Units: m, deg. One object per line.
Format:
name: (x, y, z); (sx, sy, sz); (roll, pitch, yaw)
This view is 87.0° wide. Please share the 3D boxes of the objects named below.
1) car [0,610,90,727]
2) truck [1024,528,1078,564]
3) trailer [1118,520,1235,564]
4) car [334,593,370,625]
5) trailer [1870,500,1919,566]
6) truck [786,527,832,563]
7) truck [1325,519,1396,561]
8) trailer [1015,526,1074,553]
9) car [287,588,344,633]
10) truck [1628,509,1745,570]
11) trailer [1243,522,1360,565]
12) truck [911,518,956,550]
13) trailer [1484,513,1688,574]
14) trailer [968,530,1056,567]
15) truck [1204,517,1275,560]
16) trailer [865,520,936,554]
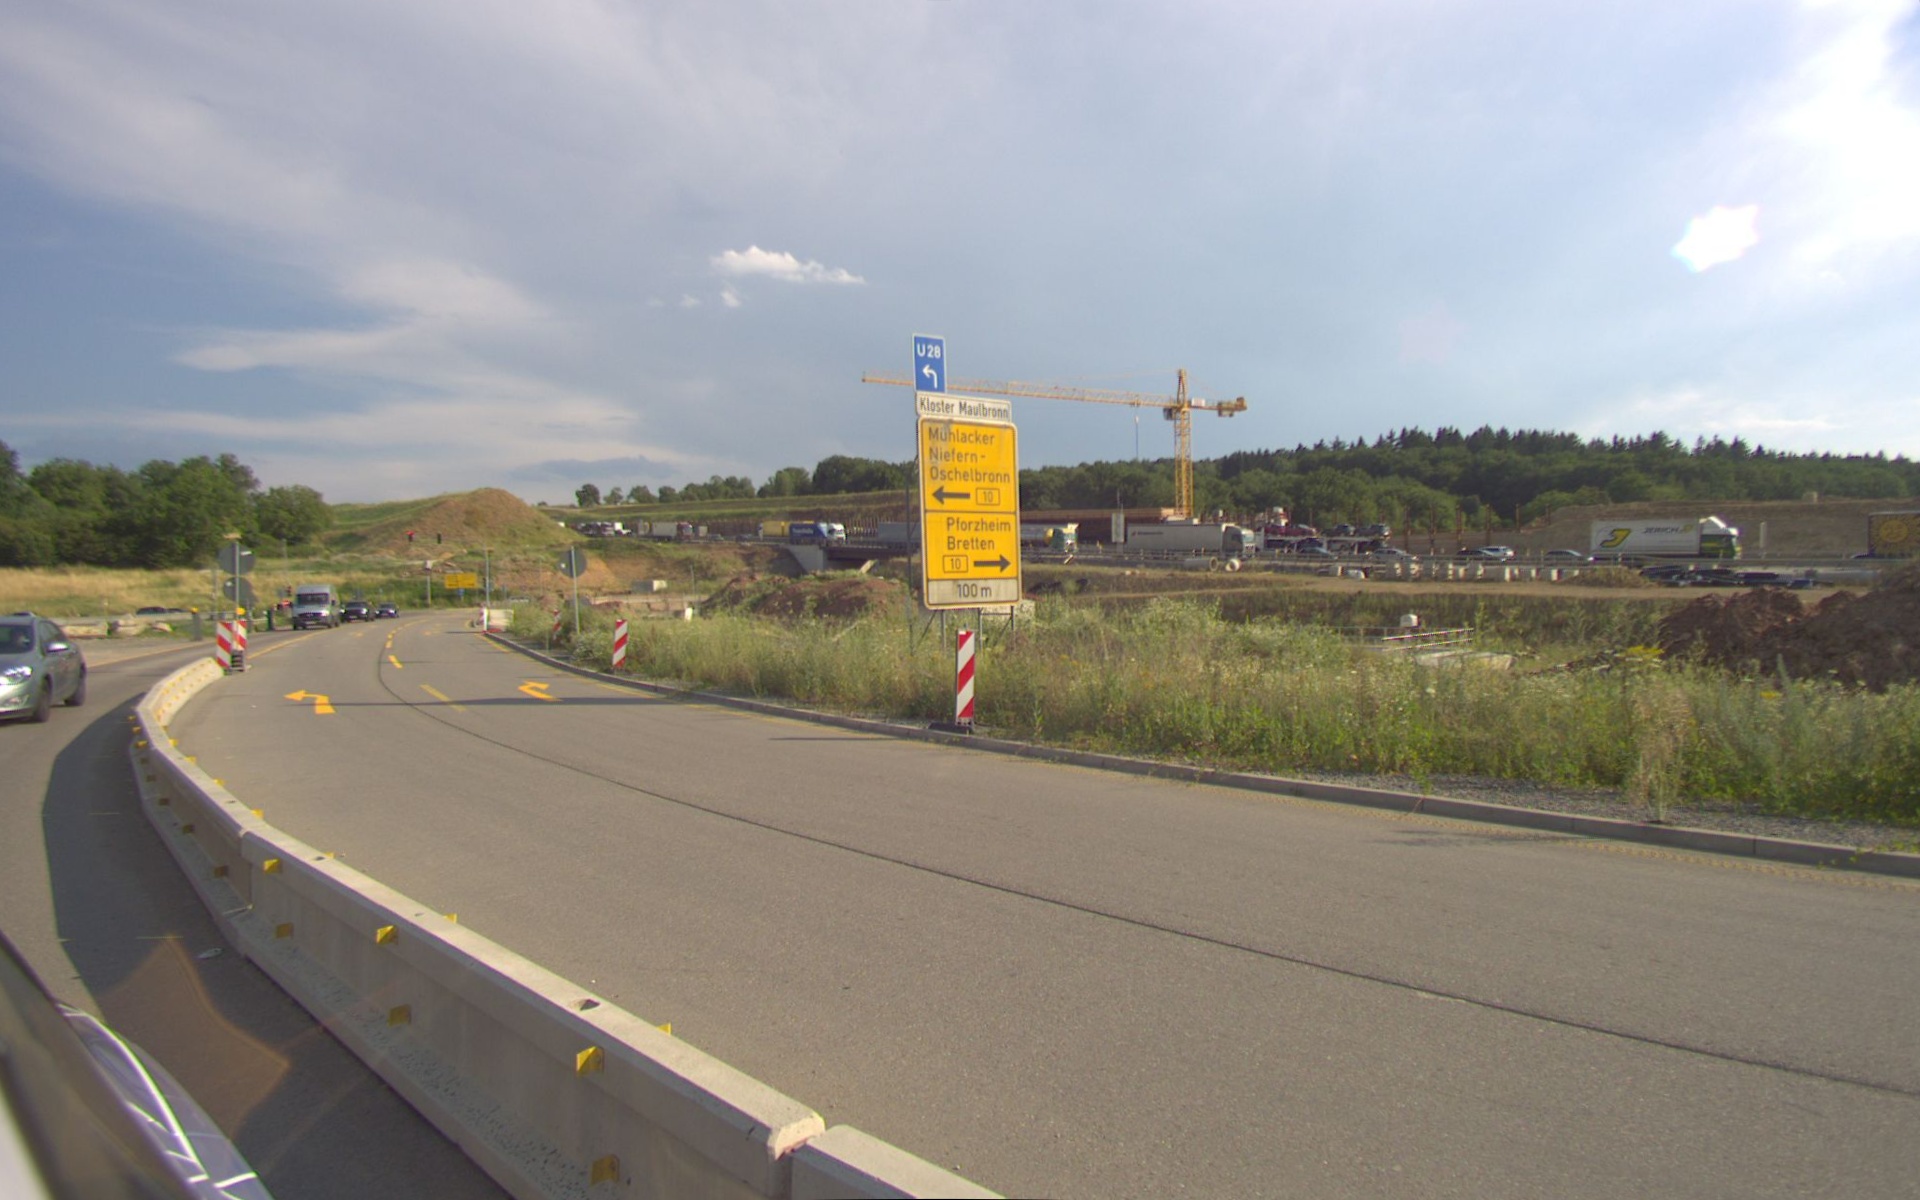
car: (-13.926, 0.921, 14.430); (1.719, 1.495, 4.263); (-1, 0, -33)
truck: (11.943, -6.988, 133.103); (3.065, 4.346, 6.907); (-1, 0, -40)
trailer: (24.828, -6.581, 117.074); (3.065, 4.346, 14.274); (-1, 0, -40)
car: (-47.414, 0.660, 78.989); (1.844, 2.421, 4.013); (-1, 0, -23)
trailer: (68.974, -4.631, 65.833); (3.065, 4.346, 14.274); (-1, 0, -40)
truck: (-26.706, -9.597, 178.423); (3.125, 5.915, 10.161); (-1, 0, -40)
truck: (45.426, -6.776, 114.990); (3.062, 4.346, 6.914); (-1, 0, -35)
trailer: (13.179, -9.455, 159.560); (1.941, 3.540, 11.192); (-1, 0, -40)
car: (-38.299, 0.590, 60.305); (1.884, 2.520, 5.817); (-1, 0, -23)
truck: (56.945, -4.621, 79.463); (3.065, 4.346, 6.907); (-1, 0, -40)
trailer: (40.771, -6.669, 121.751); (3.062, 4.346, 14.288); (-1, 0, -35)
truck: (-3.998, -9.793, 151.983); (3.065, 4.346, 6.907); (-1, 0, -40)
trailer: (52.172, -4.587, 85.087); (3.065, 4.346, 14.274); (-1, 0, -40)
trailer: (6.994, -6.941, 139.020); (3.065, 4.346, 14.274); (-1, 0, -40)
truck: (30.436, -6.632, 110.489); (3.065, 4.346, 6.907); (-1, 0, -40)
trailer: (-9.433, -9.748, 158.367); (3.065, 4.346, 14.274); (-1, 0, -40)
